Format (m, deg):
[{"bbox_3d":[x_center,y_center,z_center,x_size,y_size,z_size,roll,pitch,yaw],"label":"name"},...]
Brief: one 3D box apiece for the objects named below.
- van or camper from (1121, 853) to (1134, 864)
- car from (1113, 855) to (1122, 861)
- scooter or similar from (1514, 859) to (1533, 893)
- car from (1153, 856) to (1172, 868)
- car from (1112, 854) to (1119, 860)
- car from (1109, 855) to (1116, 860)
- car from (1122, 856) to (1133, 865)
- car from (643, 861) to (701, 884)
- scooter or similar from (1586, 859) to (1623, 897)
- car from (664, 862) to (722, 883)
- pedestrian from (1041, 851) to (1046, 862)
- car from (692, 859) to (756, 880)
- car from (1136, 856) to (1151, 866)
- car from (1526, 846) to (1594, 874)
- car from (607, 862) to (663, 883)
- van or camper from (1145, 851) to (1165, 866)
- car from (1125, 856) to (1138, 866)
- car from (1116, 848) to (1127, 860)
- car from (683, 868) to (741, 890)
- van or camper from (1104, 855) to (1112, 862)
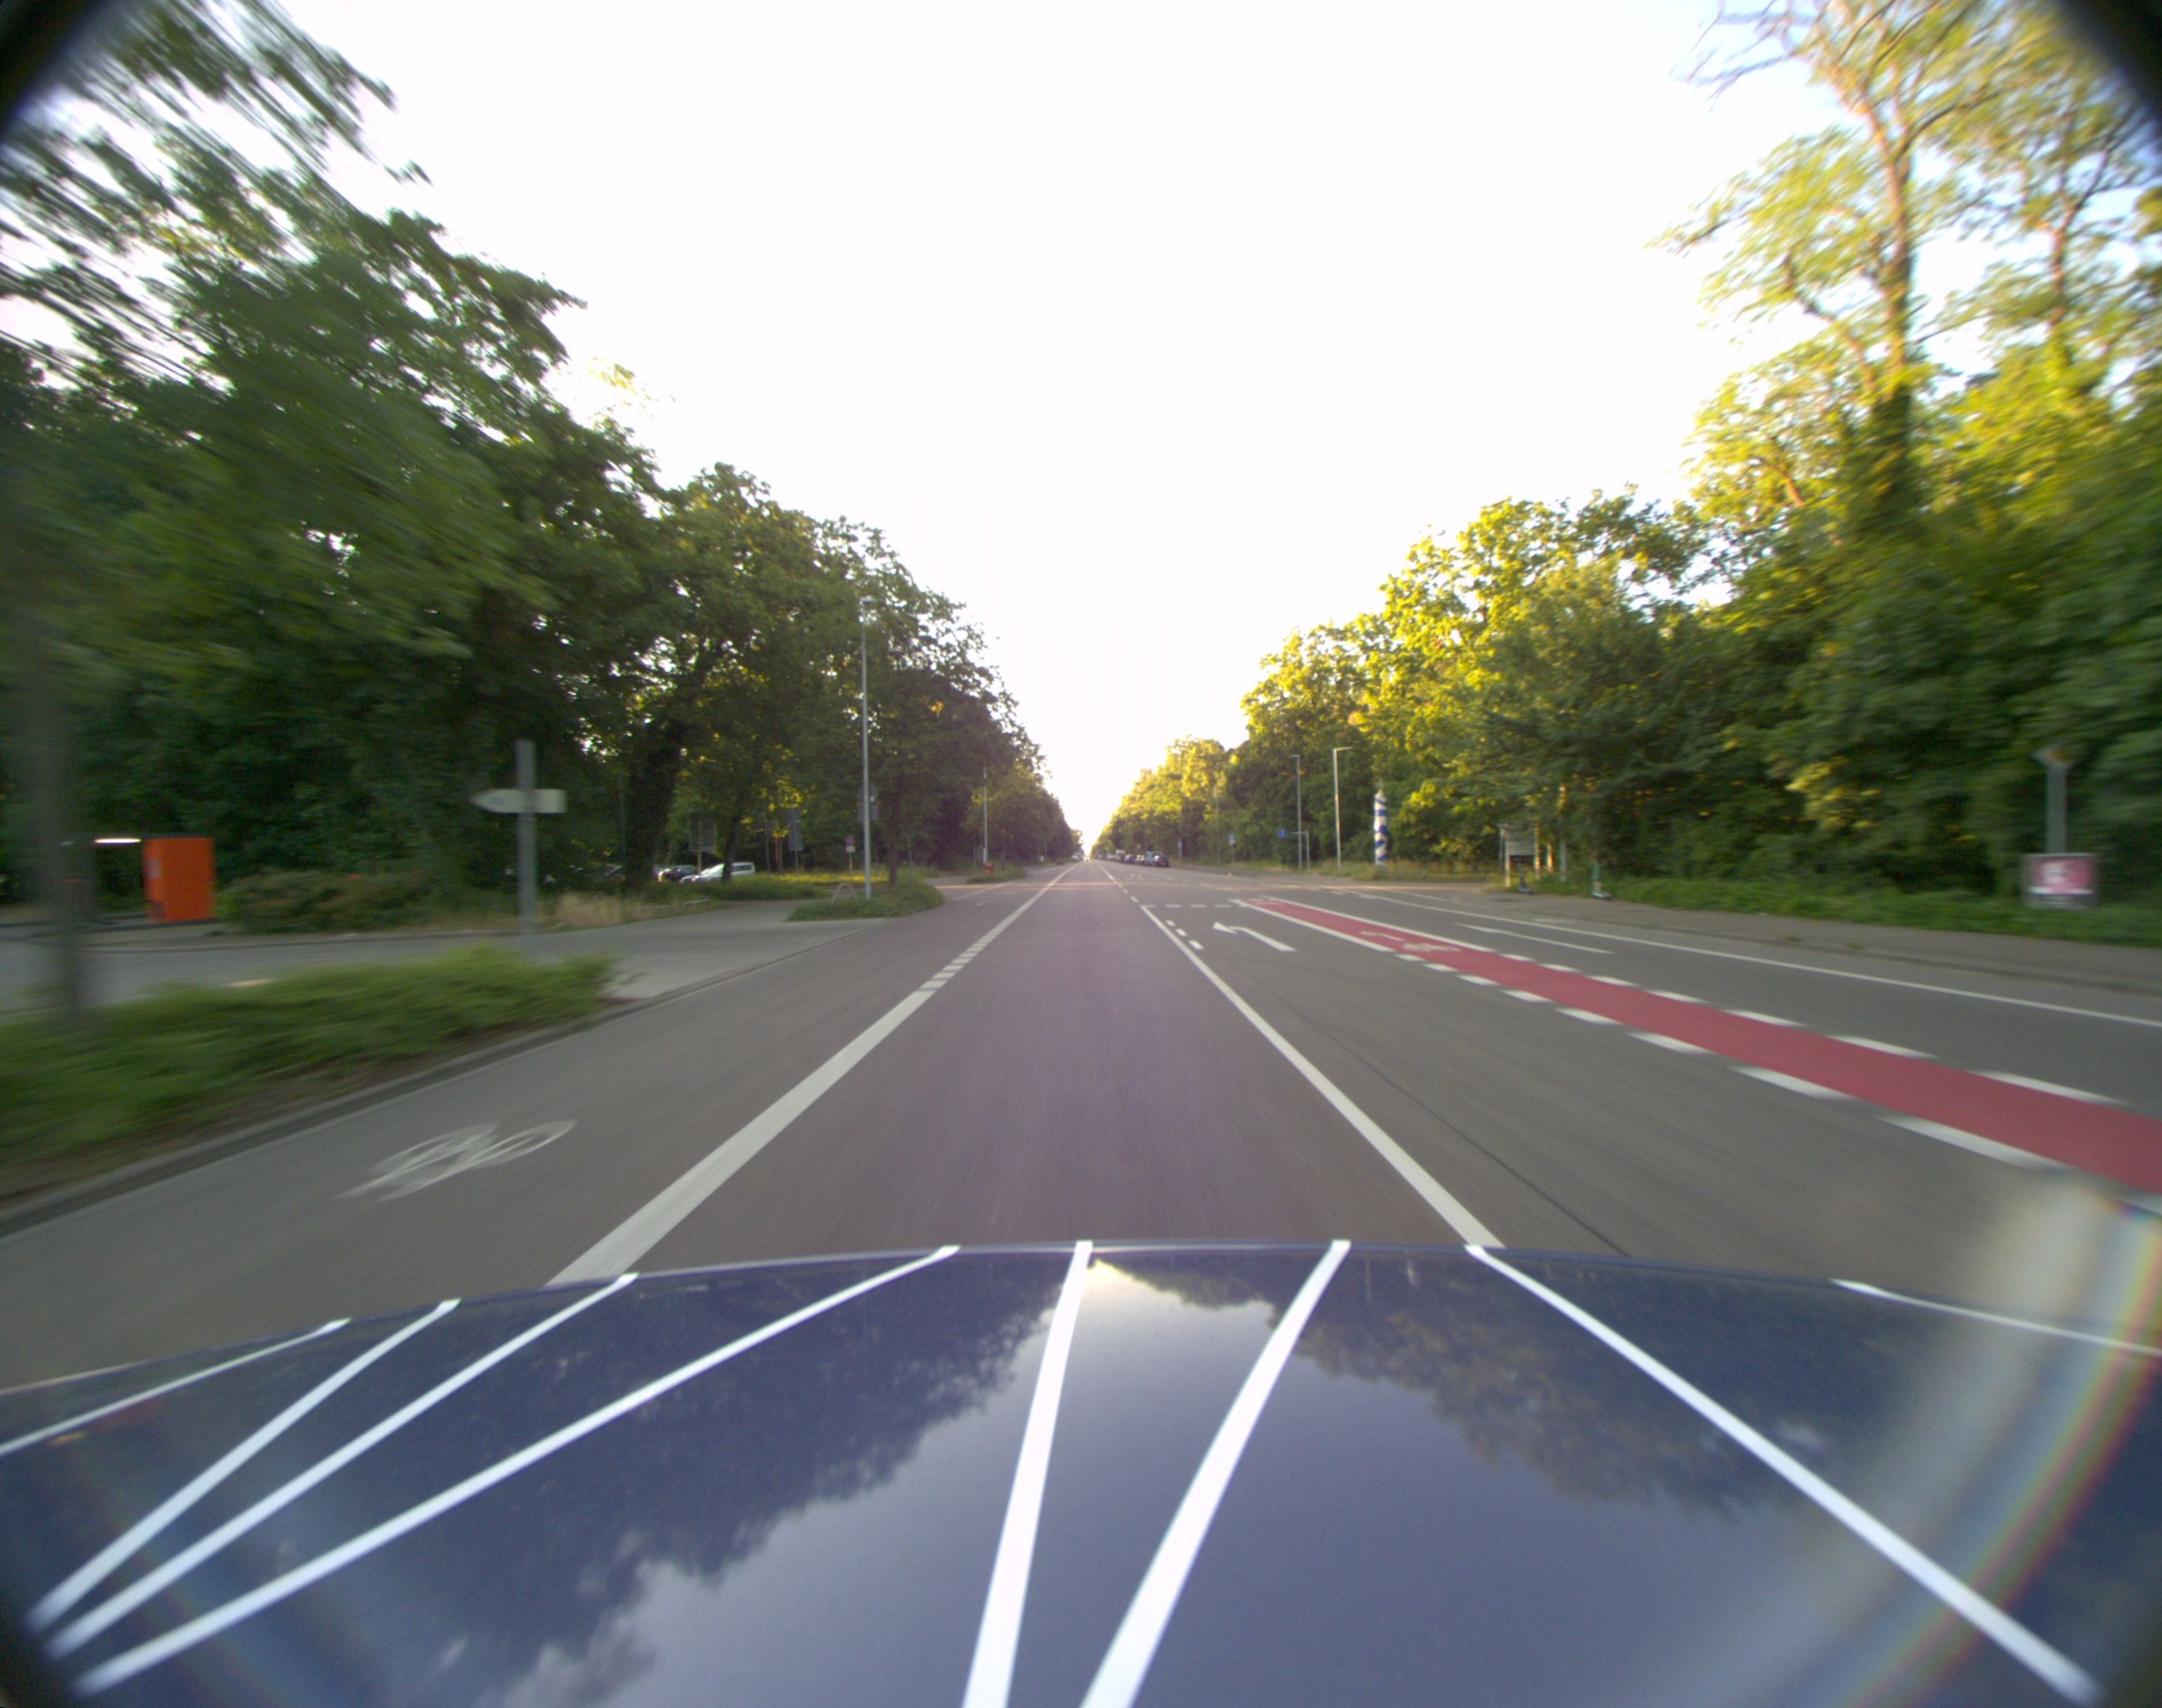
[{"bbox_3d":[8.820,0.944,144.834,2.008,2.006,5.460,1,0,-1],"label":"van or camper"},{"bbox_3d":[9.128,1.026,192.095,1.850,1.454,4.229,1,-1,-2],"label":"car"},{"bbox_3d":[14.765,0.732,25.365,0.360,1.103,0.881,0,1,43],"label":"scooter or similar"},{"bbox_3d":[10.579,1.059,99.026,1.692,1.453,4.241,1,0,-5],"label":"car"},{"bbox_3d":[9.148,0.905,202.495,1.716,1.499,3.657,1,0,0],"label":"car"},{"bbox_3d":[9.278,1.039,225.786,1.699,1.636,4.572,1,-1,-1],"label":"car"},{"bbox_3d":[8.252,1.198,134.756,1.673,1.492,4.246,1,0,-1],"label":"car"},{"bbox_3d":[-31.846,1.445,59.285,1.537,1.696,3.650,-1,0,30],"label":"car"},{"bbox_3d":[15.119,0.690,21.951,0.901,1.062,0.495,-1,1,-24],"label":"scooter or similar"},{"bbox_3d":[-29.562,1.386,57.970,1.537,1.473,3.650,-1,0,30],"label":"car"},{"bbox_3d":[-6.008,0.417,121.885,0.840,1.741,0.726,-1,0,1],"label":"pedestrian"},{"bbox_3d":[-25.790,1.121,55.058,1.537,1.388,4.007,-1,0,30],"label":"car"},{"bbox_3d":[9.436,1.057,115.560,1.621,1.525,4.038,1,0,-5],"label":"car"},{"bbox_3d":[26.445,0.318,42.090,1.748,1.444,3.344,-1,0,3],"label":"car"},{"bbox_3d":[-36.394,1.492,62.061,1.537,1.535,3.650,-1,0,30],"label":"car"},{"bbox_3d":[10.164,0.586,104.895,2.037,2.082,5.012,1,0,-3],"label":"van or camper"},{"bbox_3d":[8.559,1.206,129.640,1.749,1.702,4.522,1,0,-1],"label":"car"},{"bbox_3d":[8.916,0.068,168.662,2.084,2.591,7.089,2,0,0],"label":"car"},{"bbox_3d":[-27.547,1.840,56.820,1.537,1.473,3.650,-1,0,30],"label":"car"},{"bbox_3d":[9.001,1.472,253.463,2.116,2.376,6.381,2,0,-1],"label":"van or camper"}]
